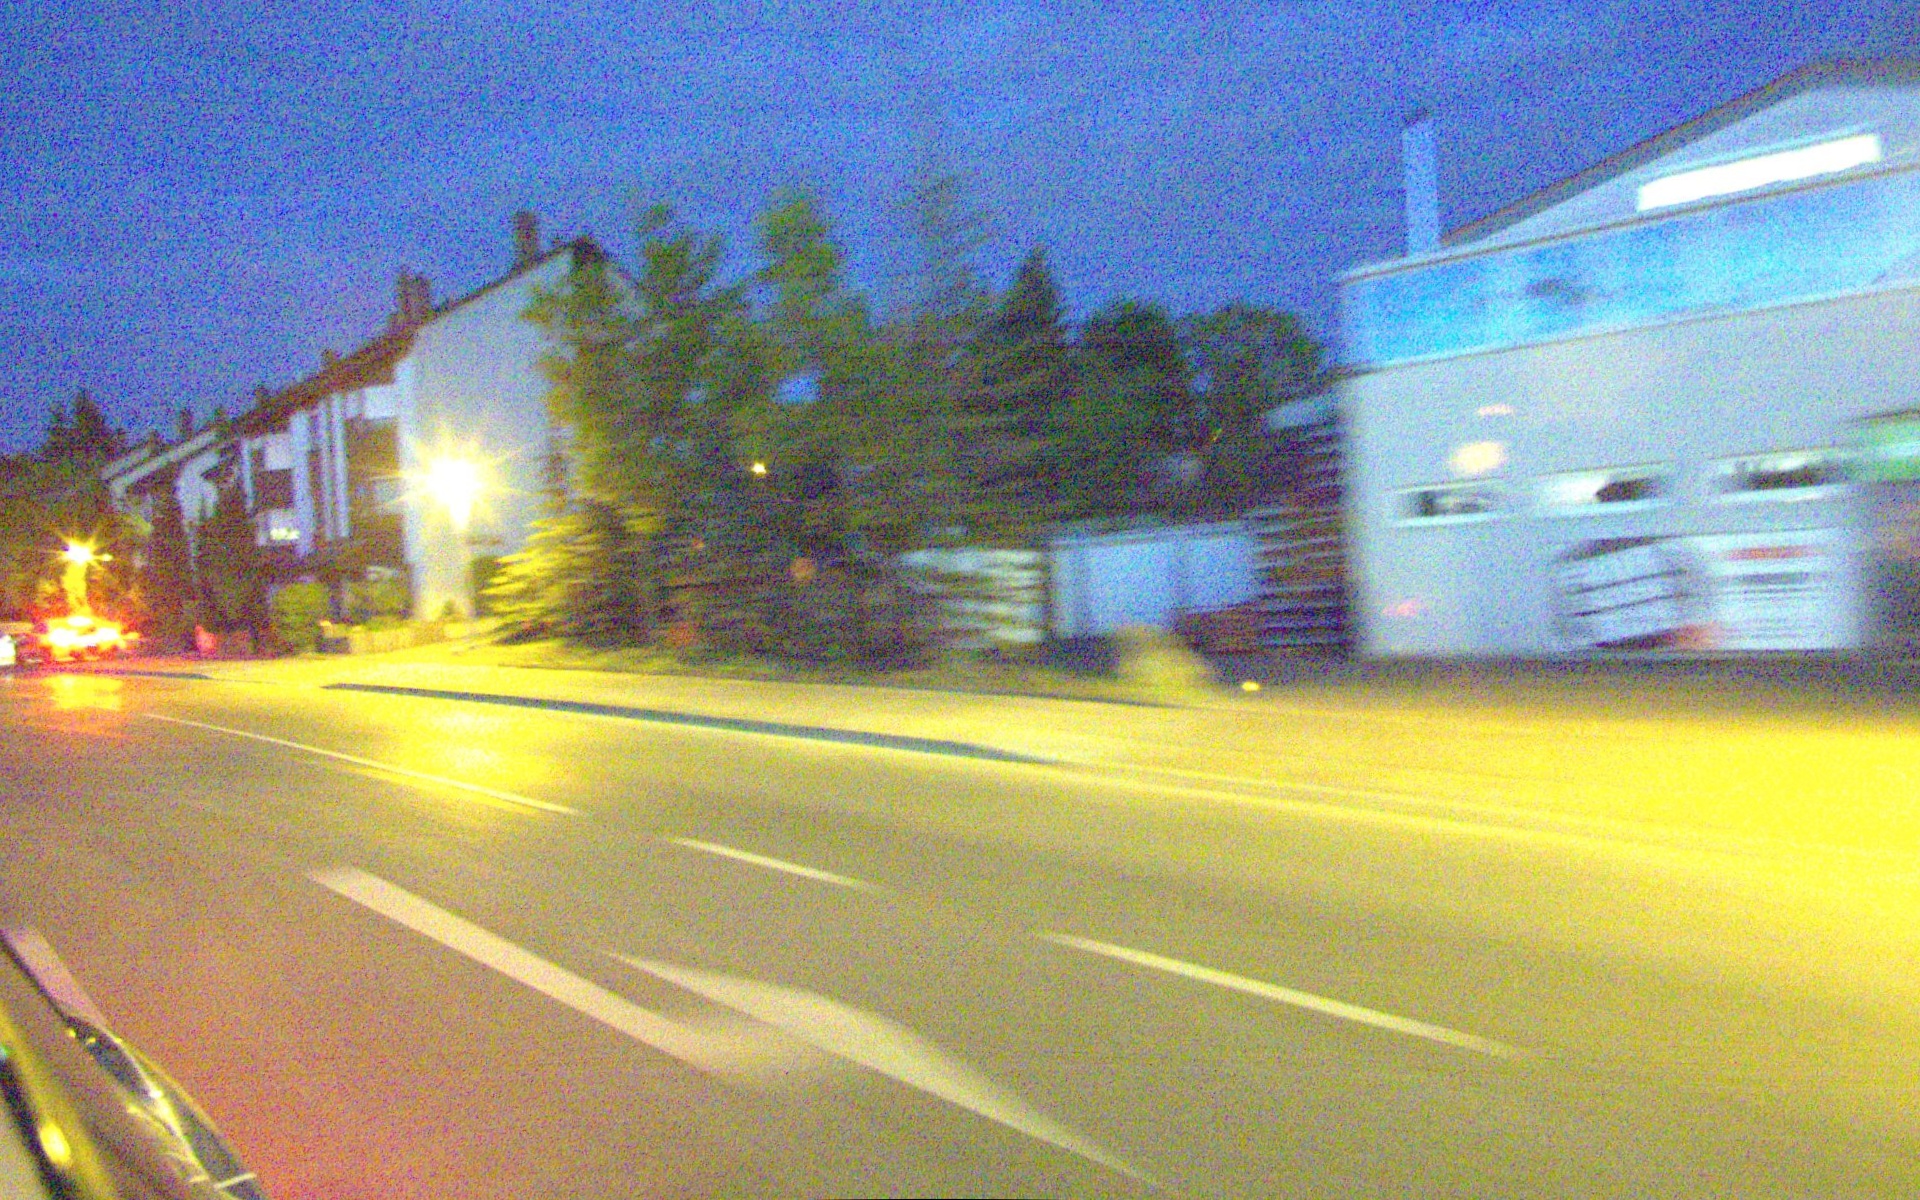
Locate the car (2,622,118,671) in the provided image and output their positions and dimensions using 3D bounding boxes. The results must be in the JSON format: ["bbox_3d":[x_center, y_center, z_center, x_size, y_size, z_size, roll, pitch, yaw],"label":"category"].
[{"bbox_3d":[-30.367,1.551,34.097,4.905,1.456,1.833,-2,1,35],"label":"car"}]

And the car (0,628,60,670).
[{"bbox_3d":[-35.663,1.830,37.690,4.582,1.390,1.979,-2,1,32],"label":"car"}]
